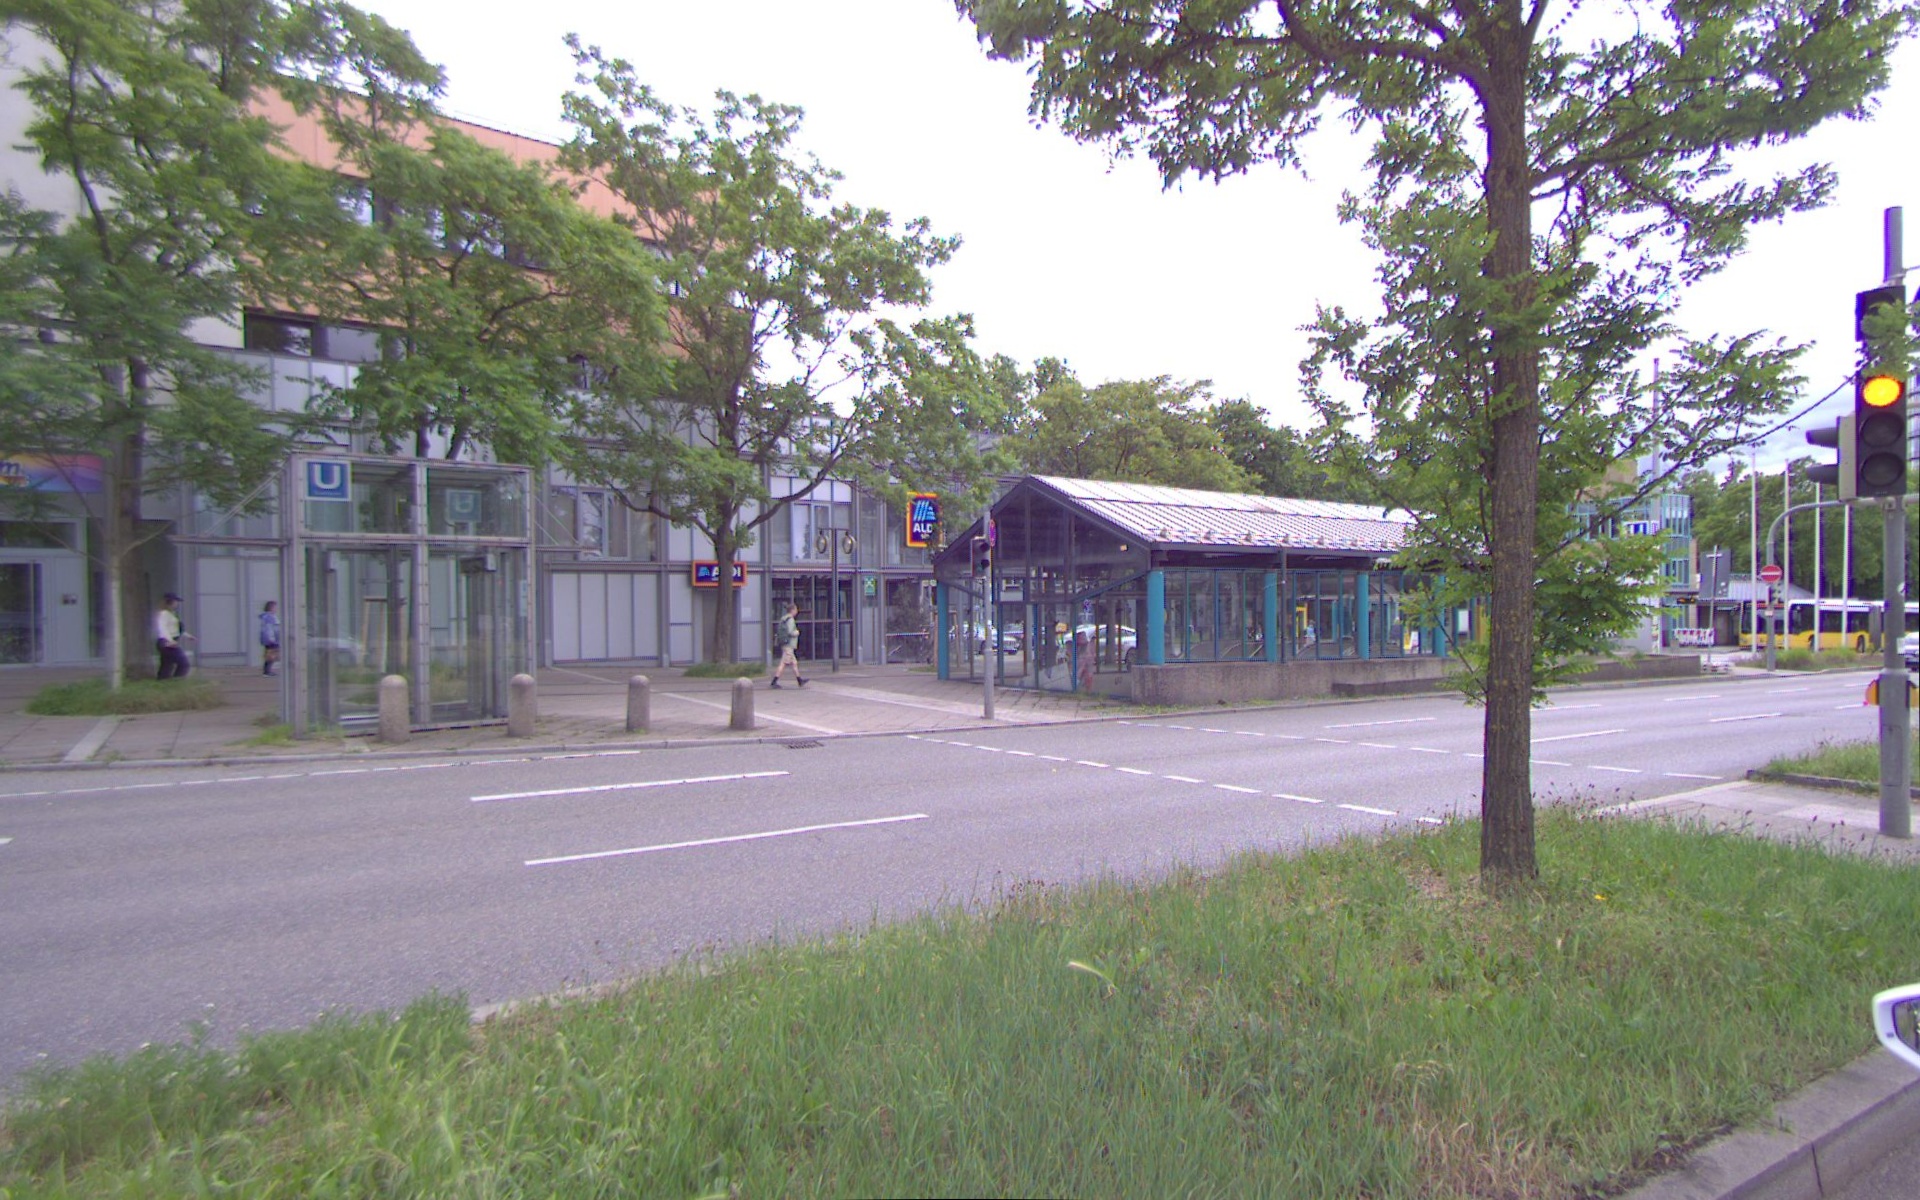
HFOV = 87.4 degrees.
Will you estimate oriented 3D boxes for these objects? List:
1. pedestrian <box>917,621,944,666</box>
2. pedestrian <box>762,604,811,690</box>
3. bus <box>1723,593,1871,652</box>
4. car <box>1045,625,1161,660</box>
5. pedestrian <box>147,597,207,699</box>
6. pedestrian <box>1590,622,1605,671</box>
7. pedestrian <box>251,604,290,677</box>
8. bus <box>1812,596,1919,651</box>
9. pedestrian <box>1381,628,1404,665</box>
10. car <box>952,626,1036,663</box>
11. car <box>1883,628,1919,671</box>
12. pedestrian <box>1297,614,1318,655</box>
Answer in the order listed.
[{"bbox_3d":[-1.003,1.482,34.209,0.748,1.499,0.525,1,-1,-36],"label":"pedestrian"},{"bbox_3d":[-3.847,1.025,22.250,0.530,1.857,0.916,0,-1,44],"label":"pedestrian"},{"bbox_3d":[49.920,1.384,59.828,10.036,3.293,2.980,1,-1,-26],"label":"bus"},{"bbox_3d":[5.161,1.528,36.139,3.959,1.184,1.812,2,-2,-34],"label":"car"},{"bbox_3d":[-13.175,0.793,16.918,0.714,1.672,0.672,1,0,-34],"label":"pedestrian"},{"bbox_3d":[21.019,1.523,33.128,0.412,1.612,0.356,0,-1,31],"label":"pedestrian"},{"bbox_3d":[-14.604,0.852,21.268,0.617,1.523,0.562,1,-1,-40],"label":"pedestrian"},{"bbox_3d":[57.916,1.546,63.768,7.771,3.313,2.980,1,-1,-26],"label":"bus"},{"bbox_3d":[18.964,2.022,44.069,0.653,1.591,0.632,2,0,-25],"label":"pedestrian"},{"bbox_3d":[1.647,2.193,50.378,1.769,1.710,4.838,1,-1,-33],"label":"car"},{"bbox_3d":[37.545,1.915,39.166,3.316,1.599,1.673,1,-1,-36],"label":"car"},{"bbox_3d":[14.226,1.401,41.130,0.703,1.677,0.517,1,0,-37],"label":"pedestrian"}]
